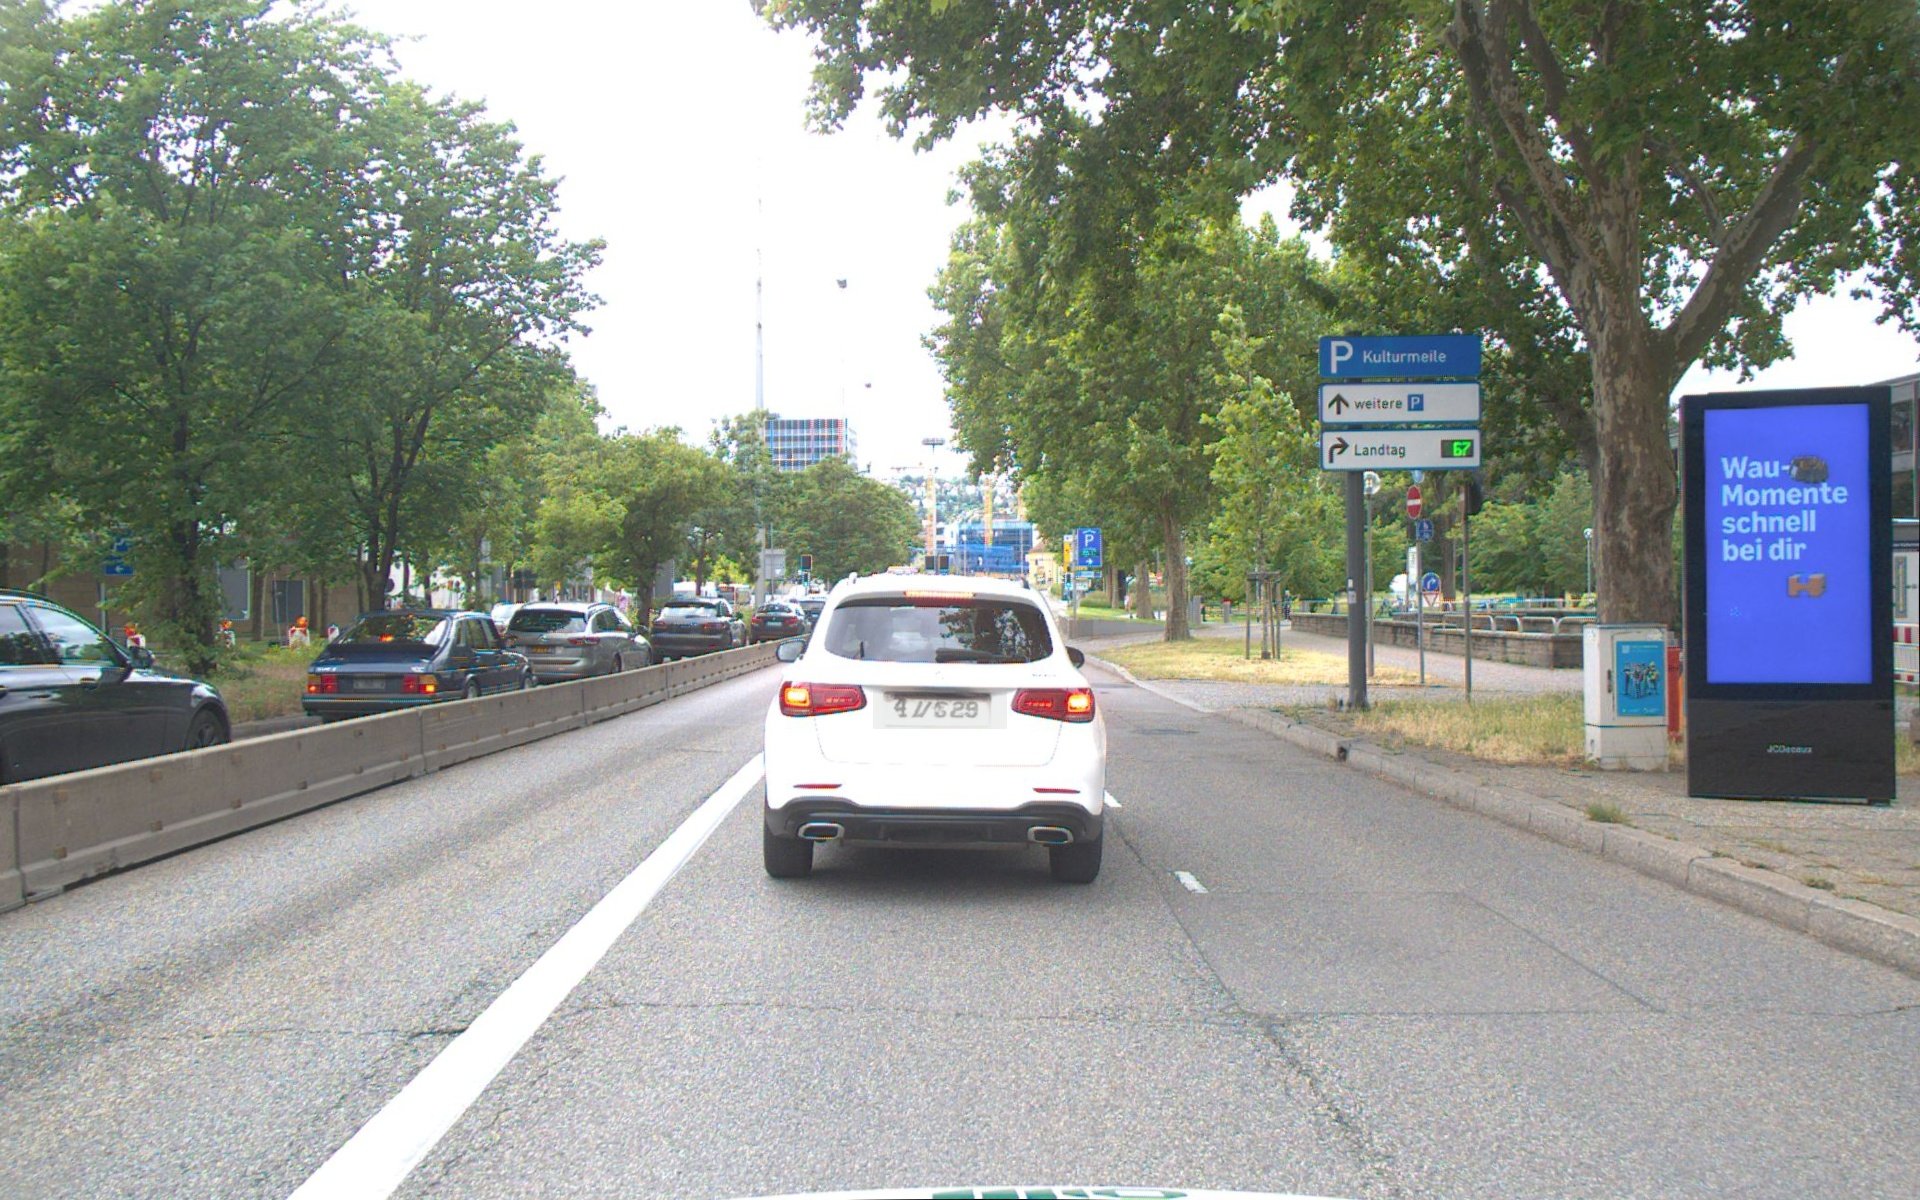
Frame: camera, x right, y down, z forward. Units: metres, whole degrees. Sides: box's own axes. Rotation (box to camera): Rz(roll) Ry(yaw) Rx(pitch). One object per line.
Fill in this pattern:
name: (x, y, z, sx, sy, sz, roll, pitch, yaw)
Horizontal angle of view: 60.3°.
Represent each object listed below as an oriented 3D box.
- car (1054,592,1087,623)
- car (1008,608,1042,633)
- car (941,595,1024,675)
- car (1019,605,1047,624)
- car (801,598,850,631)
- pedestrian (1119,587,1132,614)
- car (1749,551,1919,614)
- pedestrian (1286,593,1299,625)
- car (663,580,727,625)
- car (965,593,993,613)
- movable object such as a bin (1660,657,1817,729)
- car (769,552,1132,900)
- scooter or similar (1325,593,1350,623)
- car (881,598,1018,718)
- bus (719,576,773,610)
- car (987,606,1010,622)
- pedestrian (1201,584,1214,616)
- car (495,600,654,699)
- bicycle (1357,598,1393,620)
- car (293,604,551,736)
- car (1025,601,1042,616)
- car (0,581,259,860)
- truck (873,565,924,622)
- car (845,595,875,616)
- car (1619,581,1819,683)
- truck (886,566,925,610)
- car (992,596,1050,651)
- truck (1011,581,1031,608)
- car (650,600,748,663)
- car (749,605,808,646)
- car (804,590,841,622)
car: (7.375, 0.518, 110.542, 1.952, 2.049, 4.000, 1, 0, 1)
car: (3.835, 1.208, 98.001, 1.907, 1.453, 4.017, 1, 0, 1)
car: (0.452, 0.746, 36.518, 1.626, 1.668, 3.545, 1, 0, -3)
car: (5.272, 1.061, 119.340, 1.907, 1.343, 4.017, 1, 0, 1)
car: (-5.698, 0.601, 70.338, 1.624, 1.343, 3.548, 1, 0, 3)
pedestrian: (12.710, 0.067, 126.806, 0.746, 2.049, 0.696, -1, 0, 36)
car: (33.238, -0.647, 62.176, 5.980, 2.300, 2.402, 0, 0, 2)
pedestrian: (17.341, 0.458, 86.239, 0.625, 1.639, 0.663, 0, 0, 8)
car: (-12.246, 0.120, 76.824, 2.072, 2.004, 5.578, 0, 0, 0)
car: (1.316, 0.238, 113.134, 1.907, 1.343, 4.017, 1, 0, 1)
movable object such as a bin: (7.863, 0.933, 16.755, 1.271, 0.663, 0.729, 2, -1, 8)
car: (-0.232, 0.595, 10.227, 1.753, 1.653, 4.432, -1, 0, -5)
scooter or similar: (16.392, 0.354, 71.842, 0.622, 1.267, 2.226, 2, -1, 2)
car: (-0.230, 0.811, 24.635, 1.760, 1.636, 3.751, 1, 0, -5)
bus: (-21.105, -0.660, 163.958, 3.592, 3.261, 14.271, 0, 0, -1)
car: (3.337, 1.213, 142.738, 1.906, 1.343, 4.017, 1, 0, 2)
pedestrian: (14.002, 0.005, 93.527, 0.743, 1.755, 0.699, 0, 0, 8)
car: (-6.095, 0.762, 26.580, 1.627, 1.461, 3.960, 1, -1, 0)
bicycle: (19.577, 0.456, 78.105, 0.934, 0.992, 2.787, 2, -1, 0)
car: (-6.296, 0.754, 19.909, 1.644, 1.391, 4.542, 0, 0, 0)
car: (8.265, 0.915, 185.274, 1.722, 1.698, 4.168, 0, 0, 0)
car: (-6.148, 0.666, 10.030, 1.779, 1.525, 4.768, 0, 0, 0)
truck: (-3.292, -0.336, 90.106, 2.567, 2.911, 7.077, 1, 0, -1)
car: (-6.367, 0.353, 105.698, 1.625, 1.343, 3.548, 1, 0, 1)
car: (13.350, 0.514, 29.356, 1.724, 1.579, 4.027, 0, 2, 0)
truck: (-3.987, -0.869, 121.694, 2.637, 3.044, 5.636, 2, -1, -1)
car: (2.037, 0.754, 56.049, 1.788, 1.783, 3.999, 0, 0, 0)
truck: (9.414, -0.842, 256.602, 2.818, 4.175, 6.638, 1, 0, 1)
car: (-6.282, 0.724, 40.205, 1.739, 1.445, 4.000, 0, 0, 0)
car: (-6.192, 0.849, 56.686, 1.625, 1.343, 3.547, 1, 0, 0)
car: (-6.806, 0.294, 82.137, 1.626, 1.540, 3.545, 0, 0, -2)
